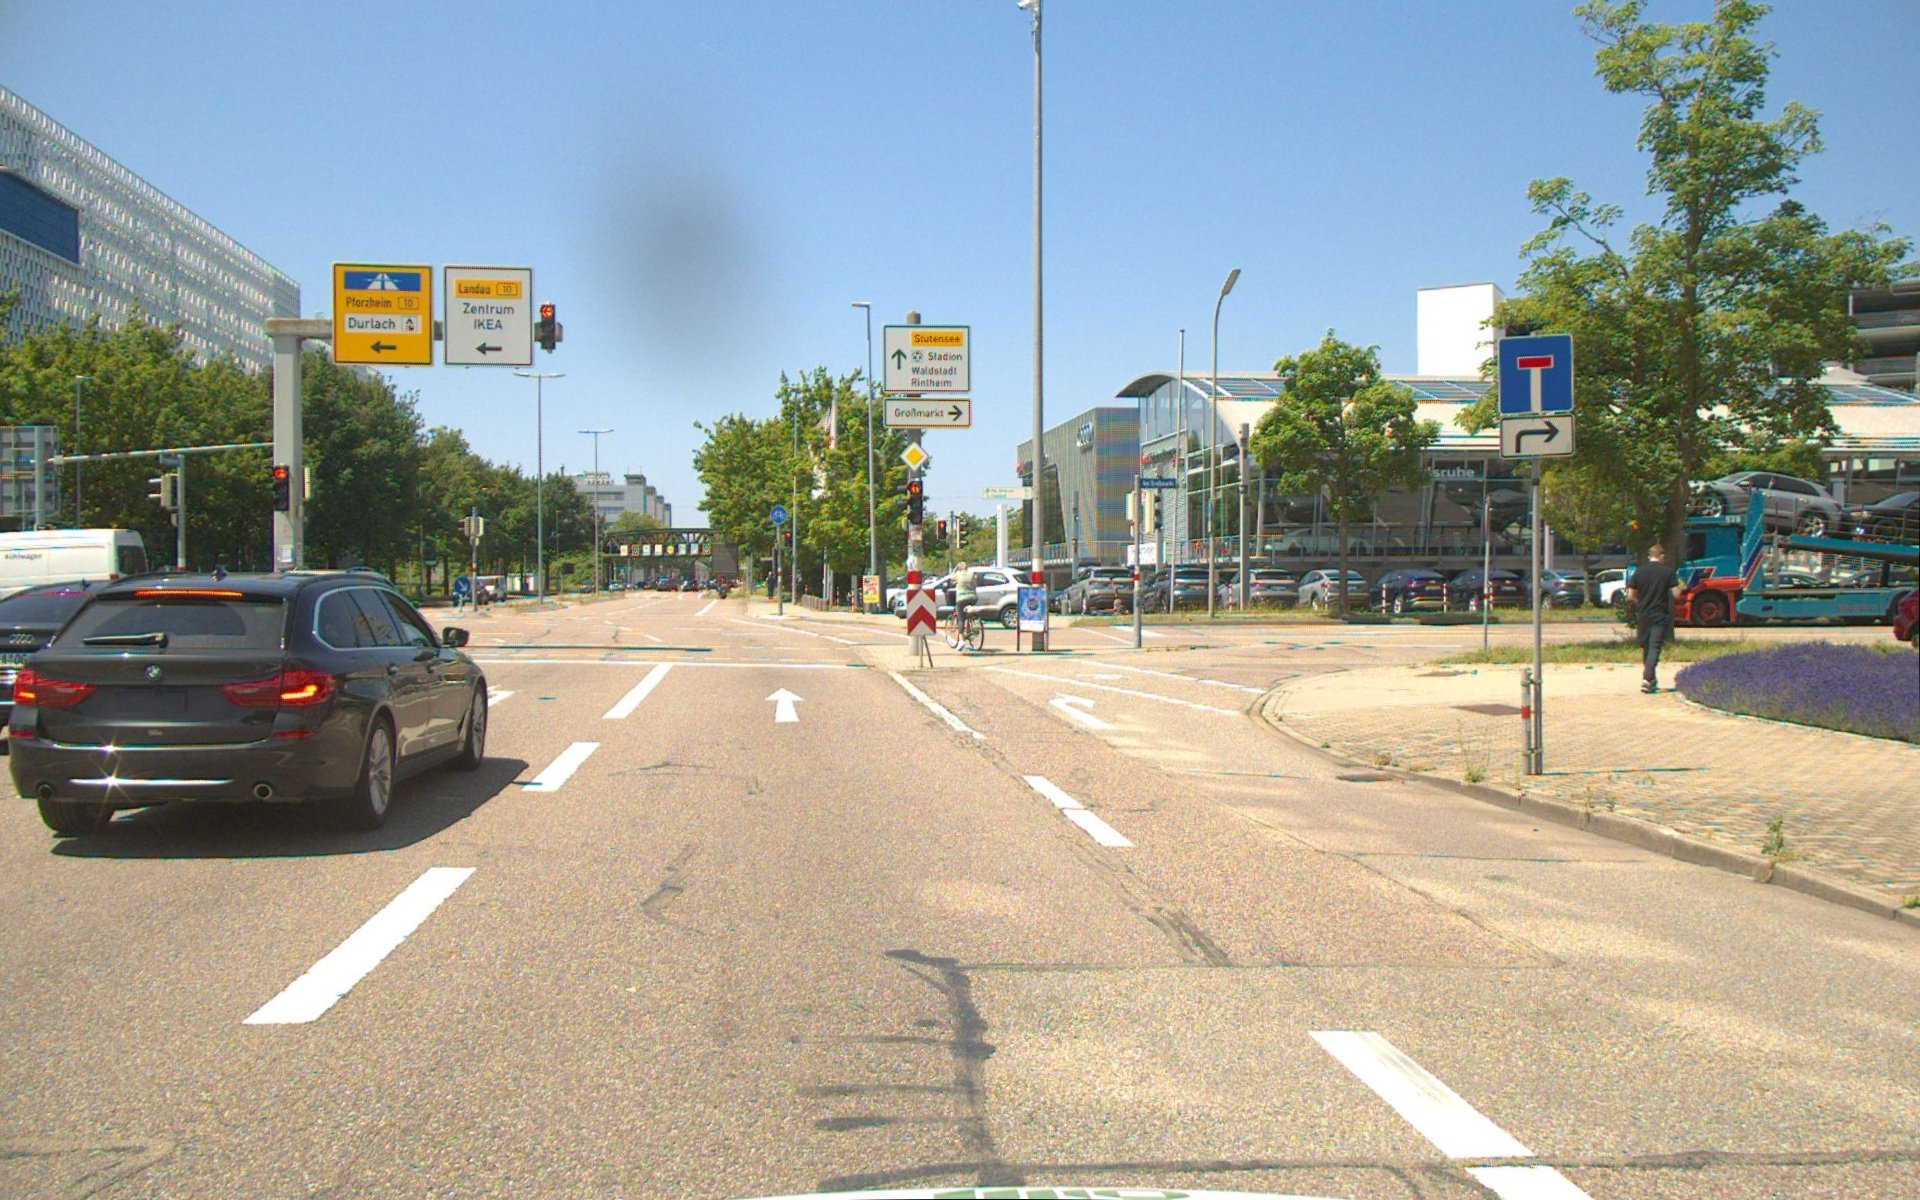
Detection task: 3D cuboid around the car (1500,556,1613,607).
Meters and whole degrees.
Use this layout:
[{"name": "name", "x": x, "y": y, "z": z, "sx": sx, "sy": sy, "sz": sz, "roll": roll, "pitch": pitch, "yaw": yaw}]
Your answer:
[{"name": "car", "x": 20.542, "y": -0.674, "z": 57.149, "sx": 1.793, "sy": 1.668, "sz": 4.467, "roll": -1, "pitch": 1, "yaw": -8}]

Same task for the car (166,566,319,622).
[{"name": "car", "x": -18.770, "y": -0.171, "z": 43.352, "sx": 3.301, "sy": 1.381, "sz": 1.622, "roll": -1, "pitch": 0, "yaw": -4}]

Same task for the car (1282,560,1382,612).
[{"name": "car", "x": 12.569, "y": -0.510, "z": 56.182, "sx": 1.850, "sy": 1.668, "sz": 4.517, "roll": -1, "pitch": 1, "yaw": -8}]

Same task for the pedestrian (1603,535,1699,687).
[{"name": "pedestrian", "x": 8.828, "y": 0.130, "z": 21.122, "sx": 0.858, "sy": 1.877, "sz": 0.764, "roll": -2, "pitch": 1, "yaw": -35}]

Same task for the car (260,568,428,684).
[{"name": "car", "x": -8.752, "y": 0.318, "z": 23.800, "sx": 1.767, "sy": 1.520, "sz": 3.986, "roll": 1, "pitch": 1, "yaw": -13}]

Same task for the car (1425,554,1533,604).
[{"name": "car", "x": 17.857, "y": -0.744, "z": 57.103, "sx": 1.794, "sy": 1.668, "sz": 4.466, "roll": 0, "pitch": 1, "yaw": -9}]

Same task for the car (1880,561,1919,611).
[{"name": "car", "x": 34.097, "y": -0.500, "z": 56.172, "sx": 4.647, "sy": 1.668, "sz": 1.835, "roll": 0, "pitch": 1, "yaw": 15}]

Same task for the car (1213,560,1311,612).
[{"name": "car", "x": 10.147, "y": -0.496, "z": 55.872, "sx": 1.956, "sy": 1.668, "sz": 4.434, "roll": -1, "pitch": 1, "yaw": -8}]

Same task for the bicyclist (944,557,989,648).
[{"name": "bicyclist", "x": 0.127, "y": 0.042, "z": 33.093, "sx": 0.720, "sy": 1.779, "sz": 0.751, "roll": 1, "pitch": 1, "yaw": -12}]

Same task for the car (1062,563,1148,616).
[{"name": "car", "x": 4.784, "y": -0.384, "z": 55.182, "sx": 1.956, "sy": 1.668, "sz": 4.261, "roll": 0, "pitch": 1, "yaw": -8}]

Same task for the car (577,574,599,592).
[{"name": "car", "x": -44.212, "y": -1.996, "z": 196.404, "sx": 1.954, "sy": 2.049, "sz": 3.996, "roll": 0, "pitch": -1, "yaw": -4}]

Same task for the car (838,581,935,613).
[{"name": "car", "x": -3.743, "y": -0.167, "z": 83.793, "sx": 4.655, "sy": 1.482, "sz": 1.996, "roll": -1, "pitch": 1, "yaw": -10}]

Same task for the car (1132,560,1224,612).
[{"name": "car", "x": 7.273, "y": -0.504, "z": 55.587, "sx": 1.956, "sy": 1.668, "sz": 4.550, "roll": 0, "pitch": 1, "yaw": -8}]

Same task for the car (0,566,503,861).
[{"name": "car", "x": -4.325, "y": 0.536, "z": 10.800, "sx": 1.765, "sy": 1.491, "sz": 4.618, "roll": -1, "pitch": 1, "yaw": -5}]

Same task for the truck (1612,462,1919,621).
[{"name": "truck", "x": 23.725, "y": -1.552, "z": 45.608, "sx": 10.408, "sy": 4.154, "sz": 3.098, "roll": 0, "pitch": 0, "yaw": -4}]

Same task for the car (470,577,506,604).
[{"name": "car", "x": -36.592, "y": -0.712, "z": 128.371, "sx": 1.956, "sy": 2.042, "sz": 4.756, "roll": -1, "pitch": 0, "yaw": -8}]

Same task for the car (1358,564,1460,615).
[{"name": "car", "x": 15.315, "y": -0.401, "z": 56.667, "sx": 1.793, "sy": 1.668, "sz": 4.467, "roll": -1, "pitch": 1, "yaw": -8}]

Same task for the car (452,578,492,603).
[{"name": "car", "x": -32.529, "y": -0.640, "z": 110.348, "sx": 1.840, "sy": 1.626, "sz": 4.488, "roll": -1, "pitch": 0, "yaw": -8}]

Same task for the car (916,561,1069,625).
[{"name": "car", "x": 0.907, "y": -0.195, "z": 45.203, "sx": 4.108, "sy": 1.680, "sz": 1.716, "roll": 0, "pitch": 1, "yaw": 2}]

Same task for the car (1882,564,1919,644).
[{"name": "car", "x": 19.020, "y": 0.064, "z": 29.852, "sx": 3.928, "sy": 1.460, "sz": 1.601, "roll": 0, "pitch": 0, "yaw": 42}]

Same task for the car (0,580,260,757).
[{"name": "car", "x": -8.187, "y": 0.526, "z": 15.517, "sx": 1.714, "sy": 1.414, "sz": 4.527, "roll": 0, "pitch": 1, "yaw": -6}]

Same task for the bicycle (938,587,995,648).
[{"name": "bicycle", "x": 0.114, "y": 0.344, "z": 33.275, "sx": 0.772, "sy": 1.147, "sz": 1.915, "roll": 1, "pitch": 1, "yaw": -11}]

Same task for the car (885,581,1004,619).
[{"name": "car", "x": -0.649, "y": -0.012, "z": 67.659, "sx": 4.655, "sy": 1.482, "sz": 1.996, "roll": 0, "pitch": 1, "yaw": -10}]

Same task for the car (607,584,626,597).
[{"name": "car", "x": -45.636, "y": -1.261, "z": 219.858, "sx": 1.889, "sy": 1.694, "sz": 4.084, "roll": -1, "pitch": 0, "yaw": -5}]

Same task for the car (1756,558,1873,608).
[{"name": "car", "x": 31.599, "y": -0.647, "z": 61.242, "sx": 3.623, "sy": 1.808, "sz": 1.749, "roll": 0, "pitch": 1, "yaw": 19}]

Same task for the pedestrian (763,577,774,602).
[{"name": "pedestrian", "x": -12.027, "y": -0.670, "z": 104.046, "sx": 0.655, "sy": 1.537, "sz": 0.735, "roll": 0, "pitch": 1, "yaw": -8}]

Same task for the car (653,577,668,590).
[{"name": "car", "x": -41.131, "y": -2.209, "z": 227.235, "sx": 1.739, "sy": 1.758, "sz": 3.993, "roll": -1, "pitch": 0, "yaw": -8}]

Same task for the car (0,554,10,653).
[{"name": "car", "x": -19.551, "y": 0.109, "z": 29.449, "sx": 1.791, "sy": 1.882, "sz": 4.845, "roll": 1, "pitch": 2, "yaw": 12}]

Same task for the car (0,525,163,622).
[{"name": "car", "x": -25.404, "y": -0.739, "z": 46.138, "sx": 5.376, "sy": 2.611, "sz": 2.001, "roll": 1, "pitch": 0, "yaw": 2}]
